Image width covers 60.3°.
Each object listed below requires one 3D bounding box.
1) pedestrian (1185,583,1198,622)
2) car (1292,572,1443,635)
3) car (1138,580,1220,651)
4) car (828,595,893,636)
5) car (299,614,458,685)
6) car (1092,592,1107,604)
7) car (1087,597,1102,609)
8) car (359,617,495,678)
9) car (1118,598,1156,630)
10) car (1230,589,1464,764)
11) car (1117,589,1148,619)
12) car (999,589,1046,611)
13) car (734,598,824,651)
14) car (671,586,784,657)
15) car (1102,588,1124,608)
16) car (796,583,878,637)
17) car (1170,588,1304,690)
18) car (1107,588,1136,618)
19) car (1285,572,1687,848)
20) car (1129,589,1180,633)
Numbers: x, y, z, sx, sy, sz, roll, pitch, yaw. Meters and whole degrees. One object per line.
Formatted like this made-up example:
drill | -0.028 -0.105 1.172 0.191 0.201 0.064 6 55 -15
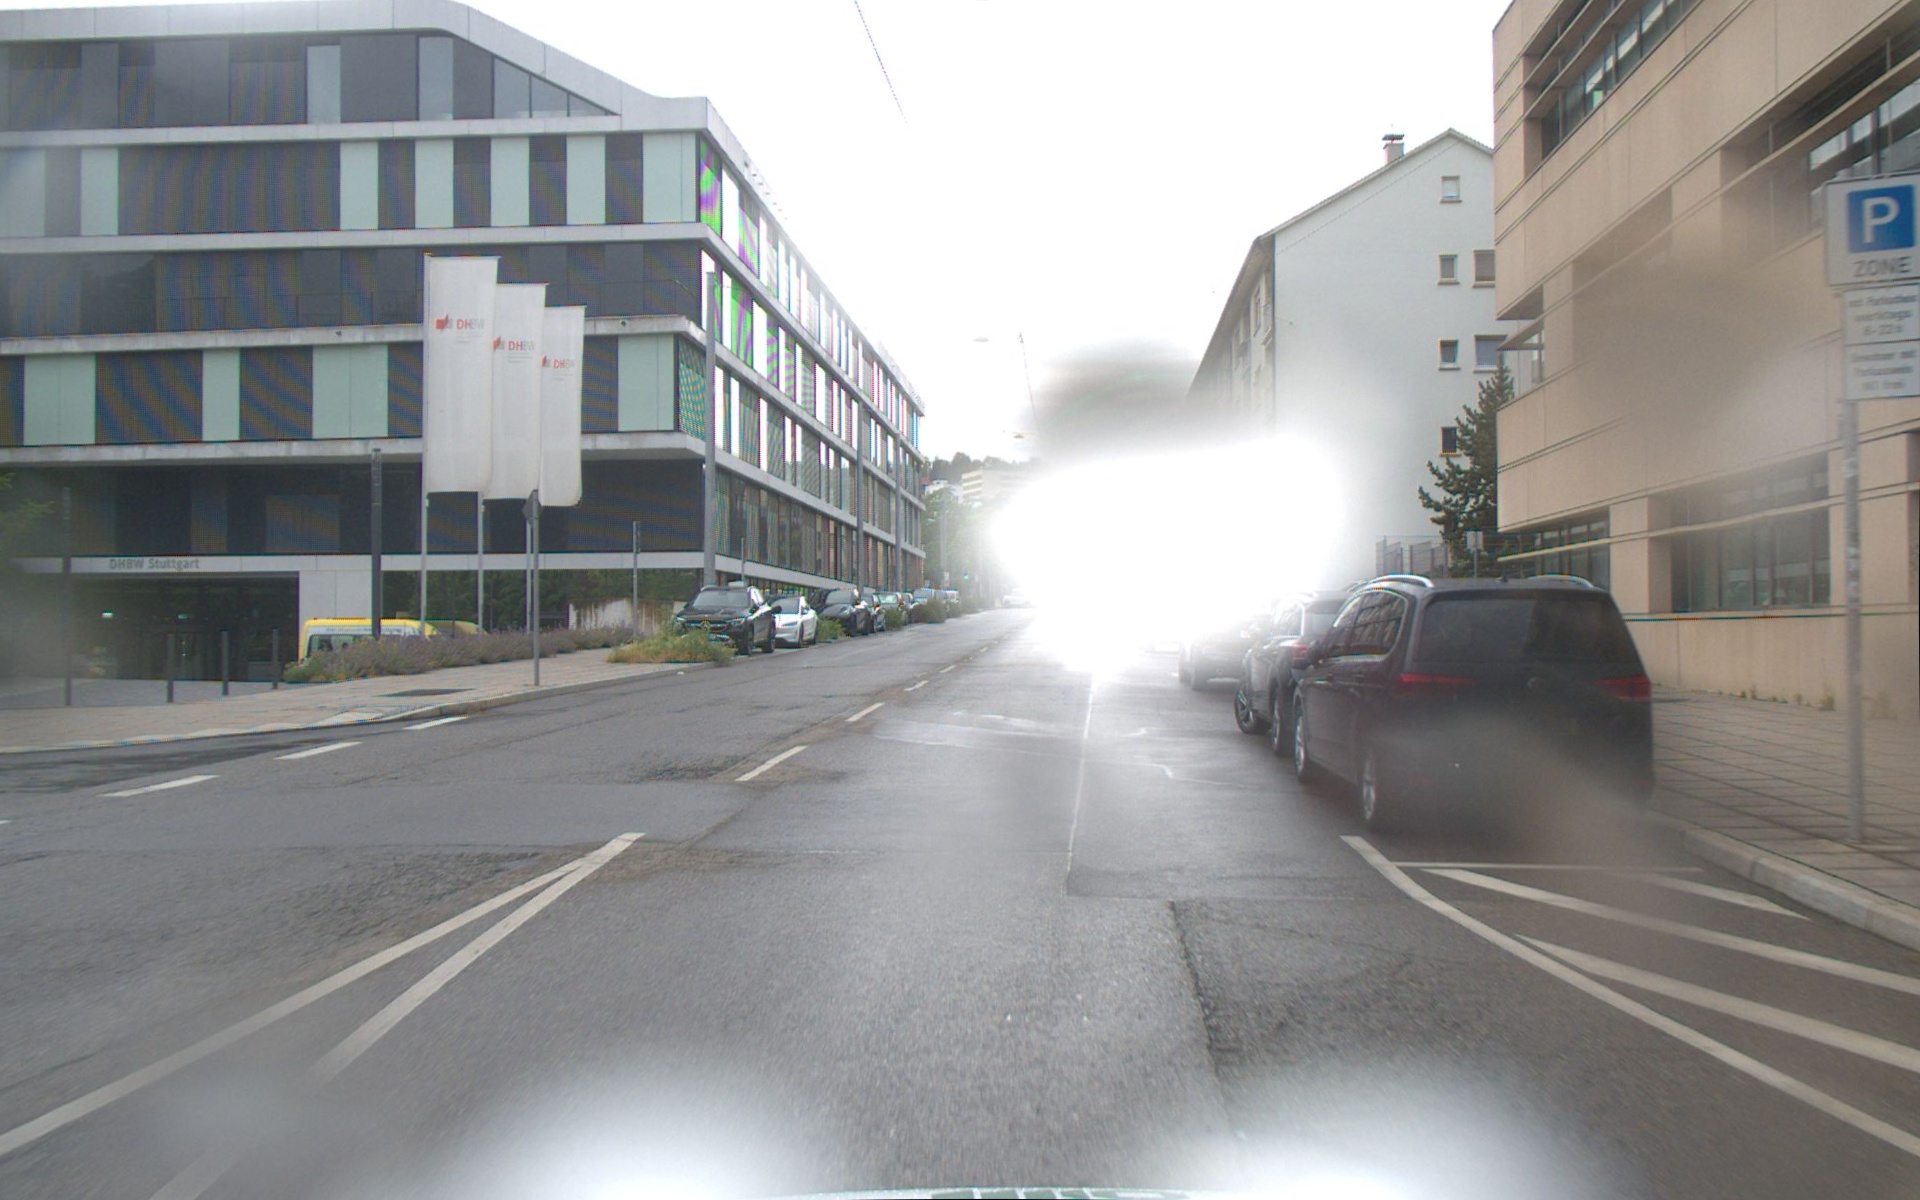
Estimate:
pedestrian | 11.431 0.134 81.690 0.625 1.903 0.539 0 -1 6
car | 12.981 0.108 52.855 4.345 1.742 1.906 -3 0 3
car | 5.851 0.393 44.580 1.895 1.781 4.799 0 0 4
car | -3.787 0.562 63.530 1.832 1.498 4.743 0 0 4
car | -18.997 1.601 54.179 4.497 2.212 1.931 0 0 -2
car | 18.713 -0.230 221.003 1.827 1.632 4.192 0 0 7
car | 18.665 0.465 229.199 1.827 1.632 4.192 0 0 7
car | -18.729 1.659 58.206 4.250 2.068 1.599 0 0 4
car | 8.435 0.632 79.037 1.670 1.480 3.986 0 0 4
car | 3.870 0.715 17.165 1.689 1.539 4.059 2 0 4
car | 9.676 0.225 93.100 1.600 1.598 3.713 0 0 4
car | 5.572 -0.014 147.542 4.133 1.698 1.629 -4 -5 44
car | -5.134 0.677 47.480 1.782 1.443 4.404 0 0 4
car | -5.655 0.508 40.795 1.810 1.646 4.493 0 0 4
car | 13.990 -0.197 151.061 1.827 1.801 4.192 0 0 7
car | -4.227 0.322 57.596 1.921 1.781 4.945 0 0 6
car | 4.558 0.606 27.730 1.707 1.560 4.321 1 0 3
car | 9.692 0.158 99.474 1.620 1.768 4.182 0 1 4
car | 3.571 0.657 12.082 1.734 1.632 4.396 0 0 3
car | 6.948 0.373 59.269 1.638 1.485 3.766 0 1 4
